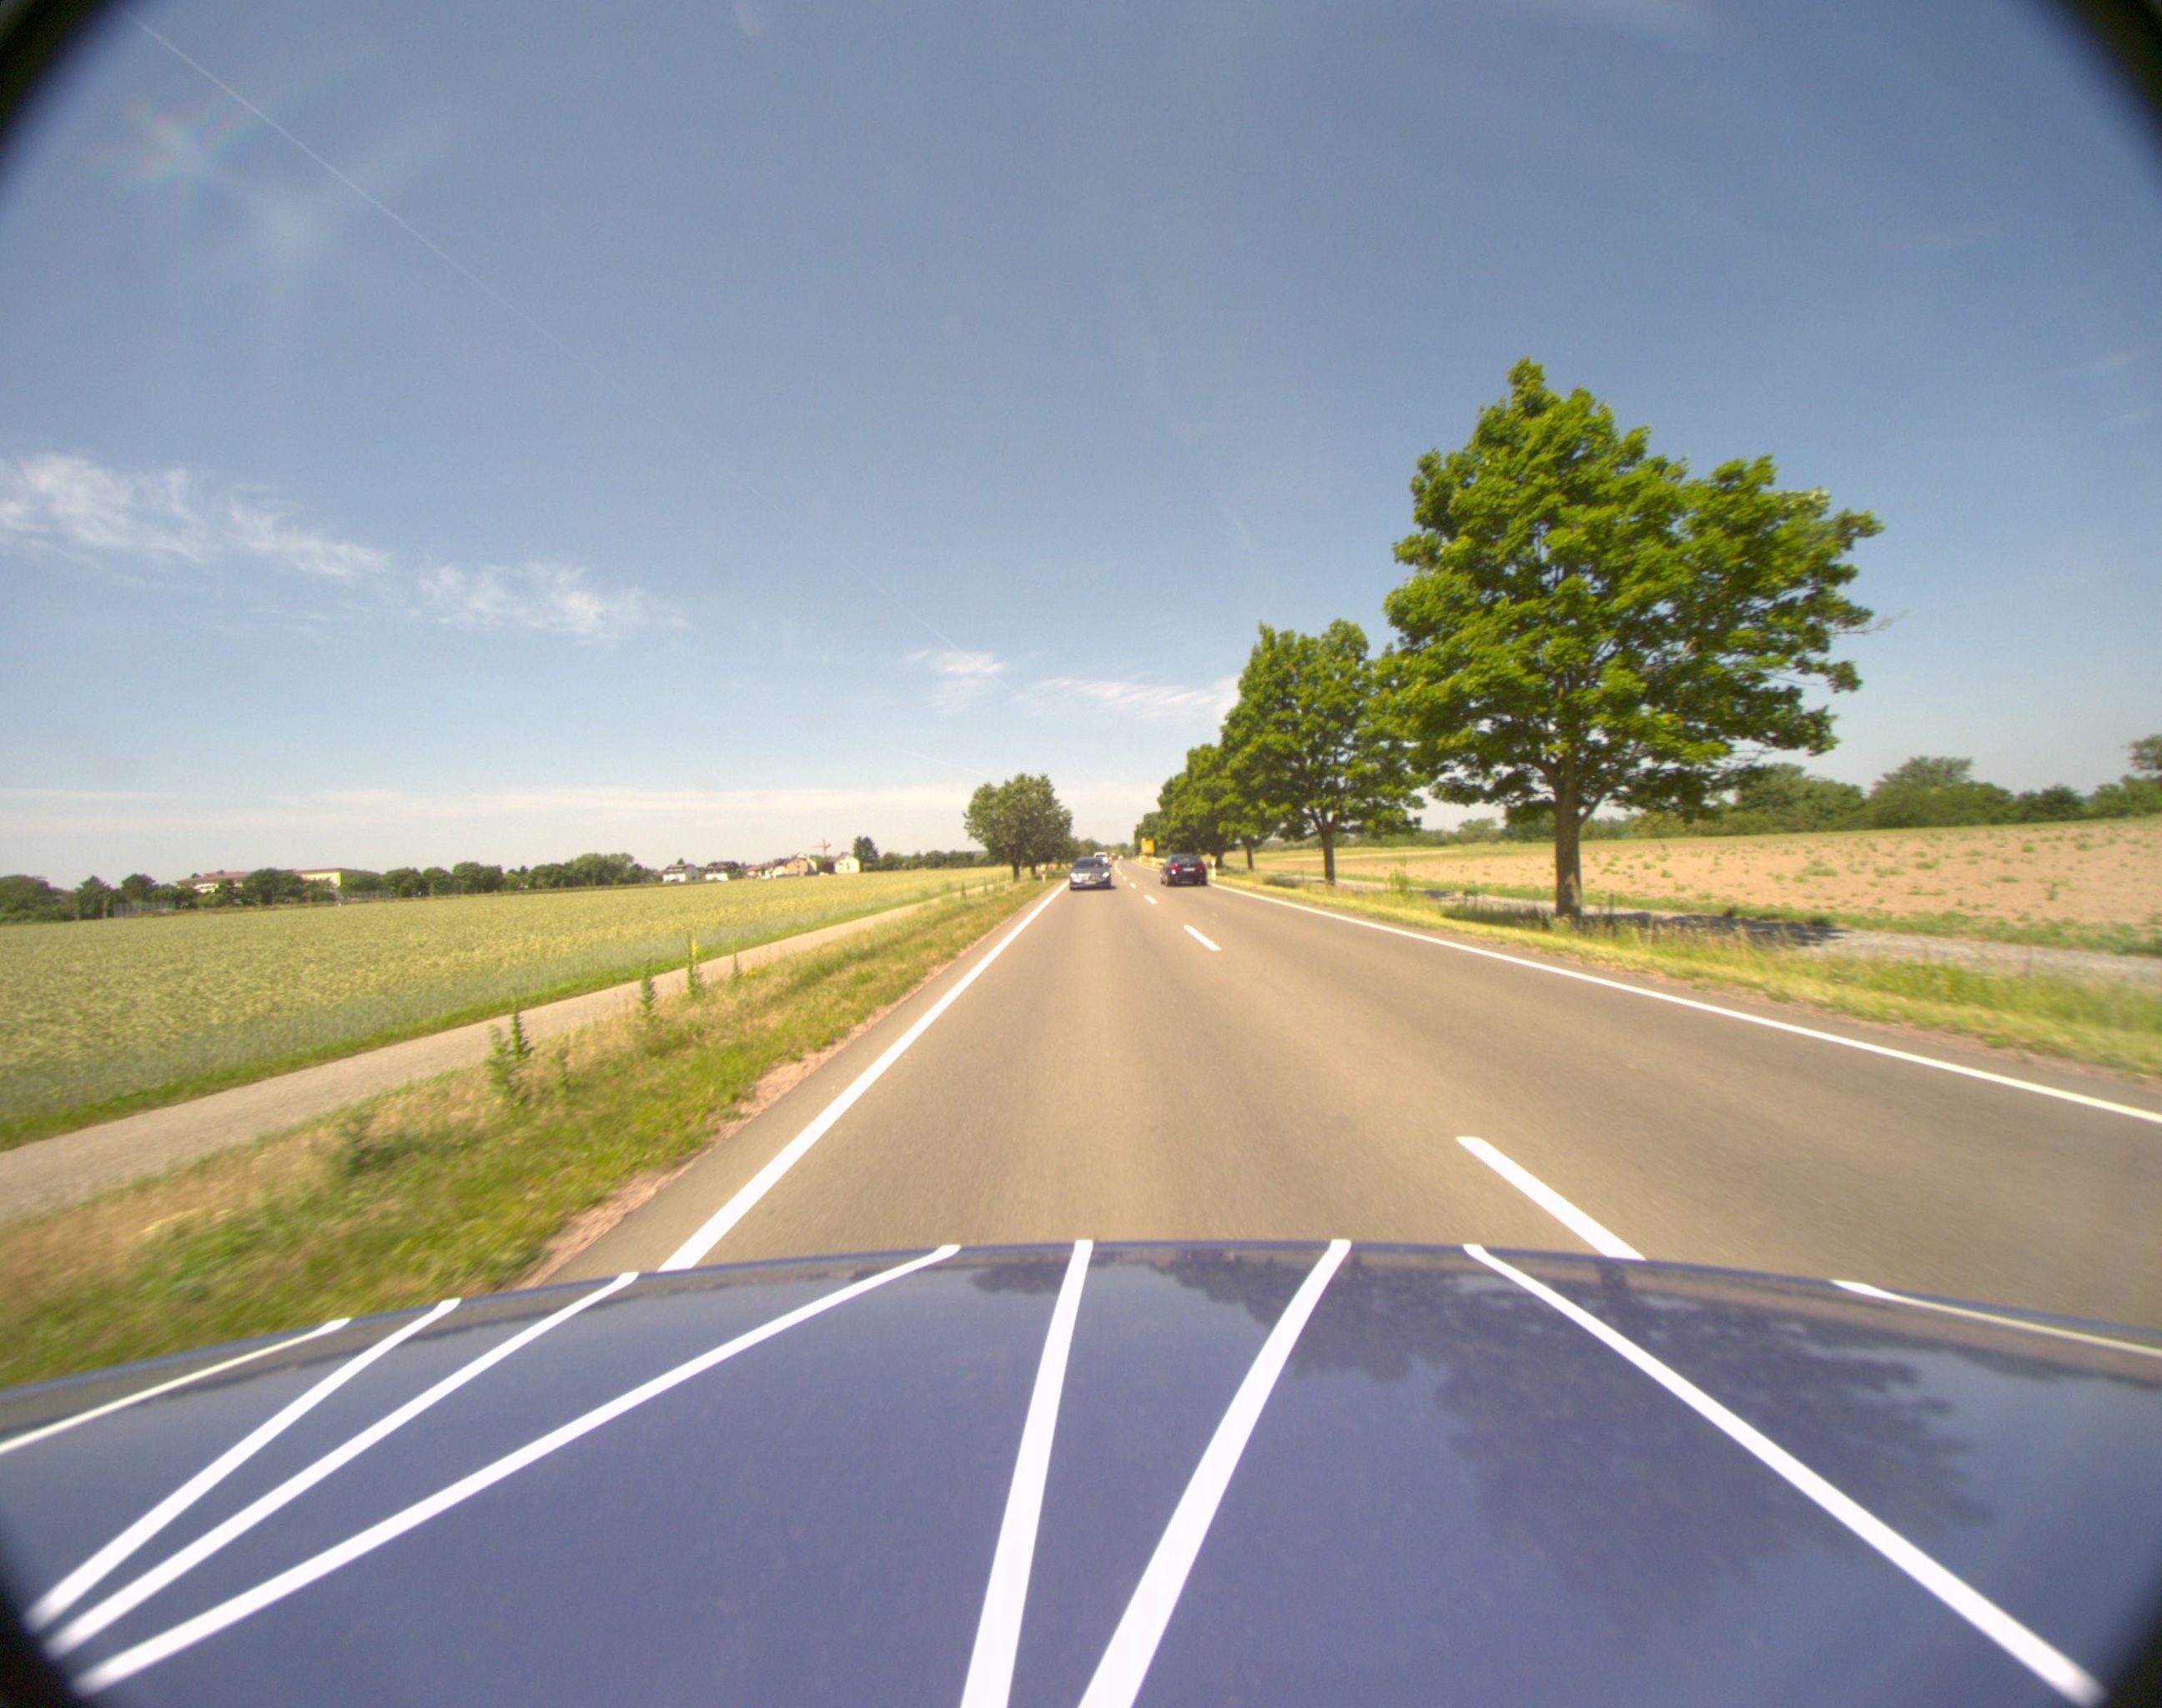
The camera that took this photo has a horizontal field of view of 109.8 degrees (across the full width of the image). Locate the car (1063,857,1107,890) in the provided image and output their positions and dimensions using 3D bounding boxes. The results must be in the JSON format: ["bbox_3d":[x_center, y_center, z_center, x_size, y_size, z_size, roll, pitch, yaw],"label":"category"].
[{"bbox_3d":[0.240,0.858,35.449,1.953,1.390,4.000,-1,0,2],"label":"car"}]

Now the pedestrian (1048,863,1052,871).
[{"bbox_3d":[-4.973,2.112,121.706,0.443,1.288,0.486,-3,1,-42],"label":"pedestrian"}]

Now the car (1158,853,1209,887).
[{"bbox_3d":[4.744,0.701,35.757,1.826,1.412,4.589,-2,1,1],"label":"car"}]

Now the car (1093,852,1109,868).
[{"bbox_3d":[2.629,0.769,100.876,1.998,1.907,4.207,-3,0,2],"label":"car"}]

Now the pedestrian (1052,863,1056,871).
[{"bbox_3d":[-4.329,2.042,120.866,0.486,1.288,0.443,-2,1,36],"label":"pedestrian"}]
